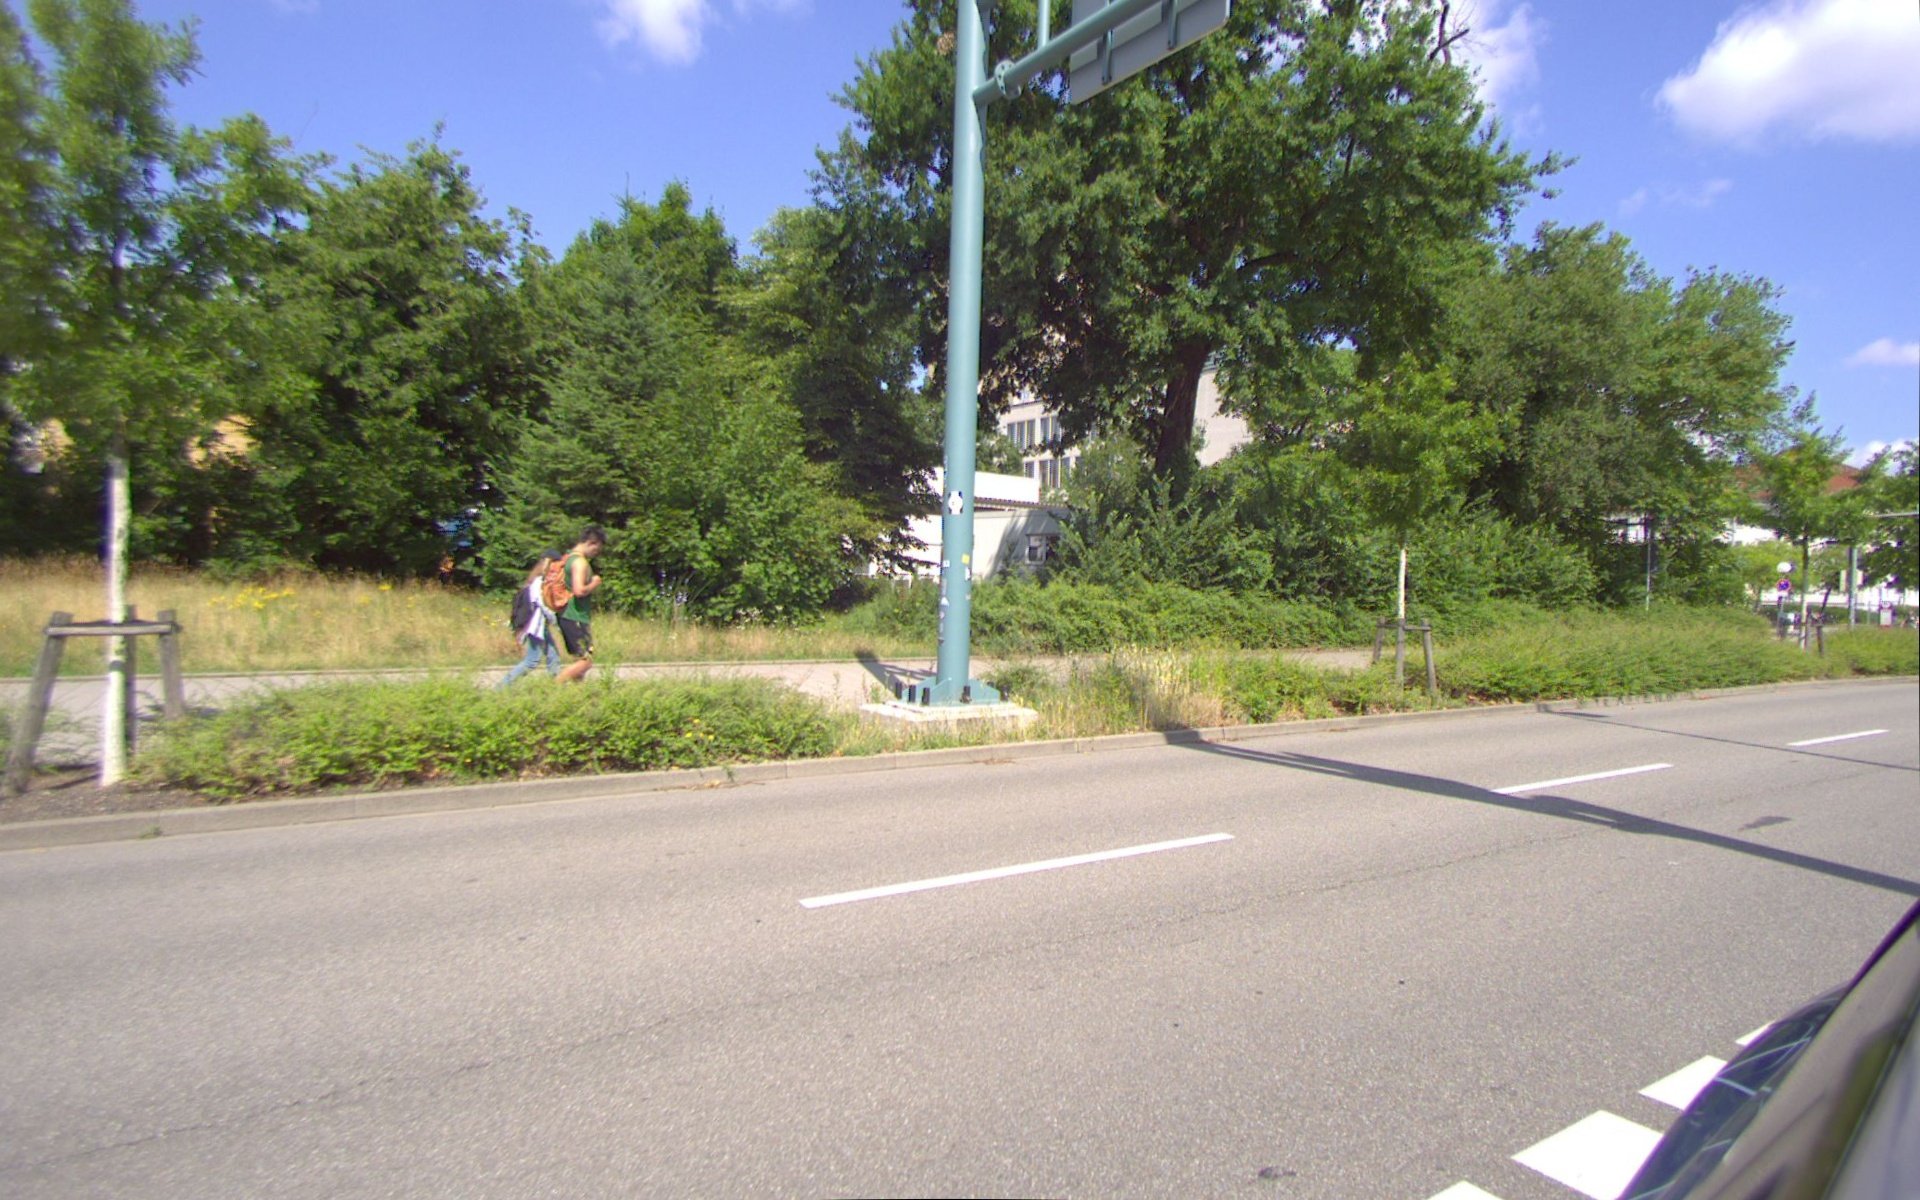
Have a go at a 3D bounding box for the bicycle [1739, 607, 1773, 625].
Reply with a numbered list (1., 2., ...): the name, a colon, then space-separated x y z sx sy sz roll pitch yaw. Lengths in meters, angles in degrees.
1. bicycle: 53.377 1.062 67.869 0.615 1.110 1.671 1 1 -39

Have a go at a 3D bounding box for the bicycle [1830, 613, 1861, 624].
1. bicycle: 67.216 1.378 76.816 0.615 0.743 1.671 1 1 -39

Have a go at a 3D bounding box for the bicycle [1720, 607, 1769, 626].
1. bicycle: 36.821 0.769 47.527 0.438 0.785 1.751 1 1 -44

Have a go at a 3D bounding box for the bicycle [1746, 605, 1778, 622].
1. bicycle: 56.021 0.930 70.710 0.615 1.110 1.671 1 1 -39

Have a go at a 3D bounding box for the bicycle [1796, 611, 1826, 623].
1. bicycle: 65.350 1.290 77.691 0.616 0.800 1.671 1 1 -41

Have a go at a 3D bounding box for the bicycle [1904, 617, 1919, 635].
1. bicycle: 45.950 1.245 48.232 0.609 0.843 1.512 2 1 7

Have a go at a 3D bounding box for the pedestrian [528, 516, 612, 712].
1. pedestrian: -3.787 0.130 9.823 0.626 1.824 0.569 1 1 -32

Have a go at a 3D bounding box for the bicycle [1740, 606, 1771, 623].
1. bicycle: 57.673 1.059 73.382 0.615 1.110 1.671 1 1 -39

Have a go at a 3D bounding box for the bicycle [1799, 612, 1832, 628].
1. bicycle: 59.449 1.394 70.348 0.615 0.997 1.671 1 1 -39

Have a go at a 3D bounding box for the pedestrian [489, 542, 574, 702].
1. pedestrian: -4.470 0.213 10.537 0.694 1.600 0.625 1 1 -32

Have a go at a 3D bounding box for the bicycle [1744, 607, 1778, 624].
1. bicycle: 54.483 1.043 68.850 0.615 1.110 1.671 1 1 -39

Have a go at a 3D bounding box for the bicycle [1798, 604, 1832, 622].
1. bicycle: 58.275 0.872 68.992 0.615 1.110 1.671 1 1 -39

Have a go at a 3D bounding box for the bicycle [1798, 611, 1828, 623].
1. bicycle: 65.886 1.296 78.165 0.616 0.800 1.671 1 1 -41

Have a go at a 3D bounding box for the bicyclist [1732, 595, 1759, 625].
1. bicyclist: 36.859 0.477 47.491 0.438 1.366 0.929 1 0 -44

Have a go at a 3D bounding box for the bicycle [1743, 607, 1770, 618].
1. bicycle: 65.328 0.999 83.020 0.615 0.800 1.671 1 1 -39

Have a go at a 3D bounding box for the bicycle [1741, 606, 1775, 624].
1. bicycle: 53.925 1.032 68.395 0.615 1.110 1.671 1 1 -39

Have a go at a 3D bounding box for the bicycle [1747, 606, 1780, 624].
1. bicycle: 55.000 1.009 69.300 0.615 1.110 1.671 1 1 -39

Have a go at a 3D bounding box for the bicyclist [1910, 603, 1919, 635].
1. bicyclist: 45.947 0.914 48.165 0.602 1.526 0.917 2 1 7

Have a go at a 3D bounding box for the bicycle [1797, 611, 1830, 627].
1. bicycle: 58.895 1.318 69.831 0.615 1.048 1.671 1 1 -39

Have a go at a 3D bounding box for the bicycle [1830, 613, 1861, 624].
1. bicycle: 66.546 1.385 76.071 0.615 0.743 1.671 1 1 -39
